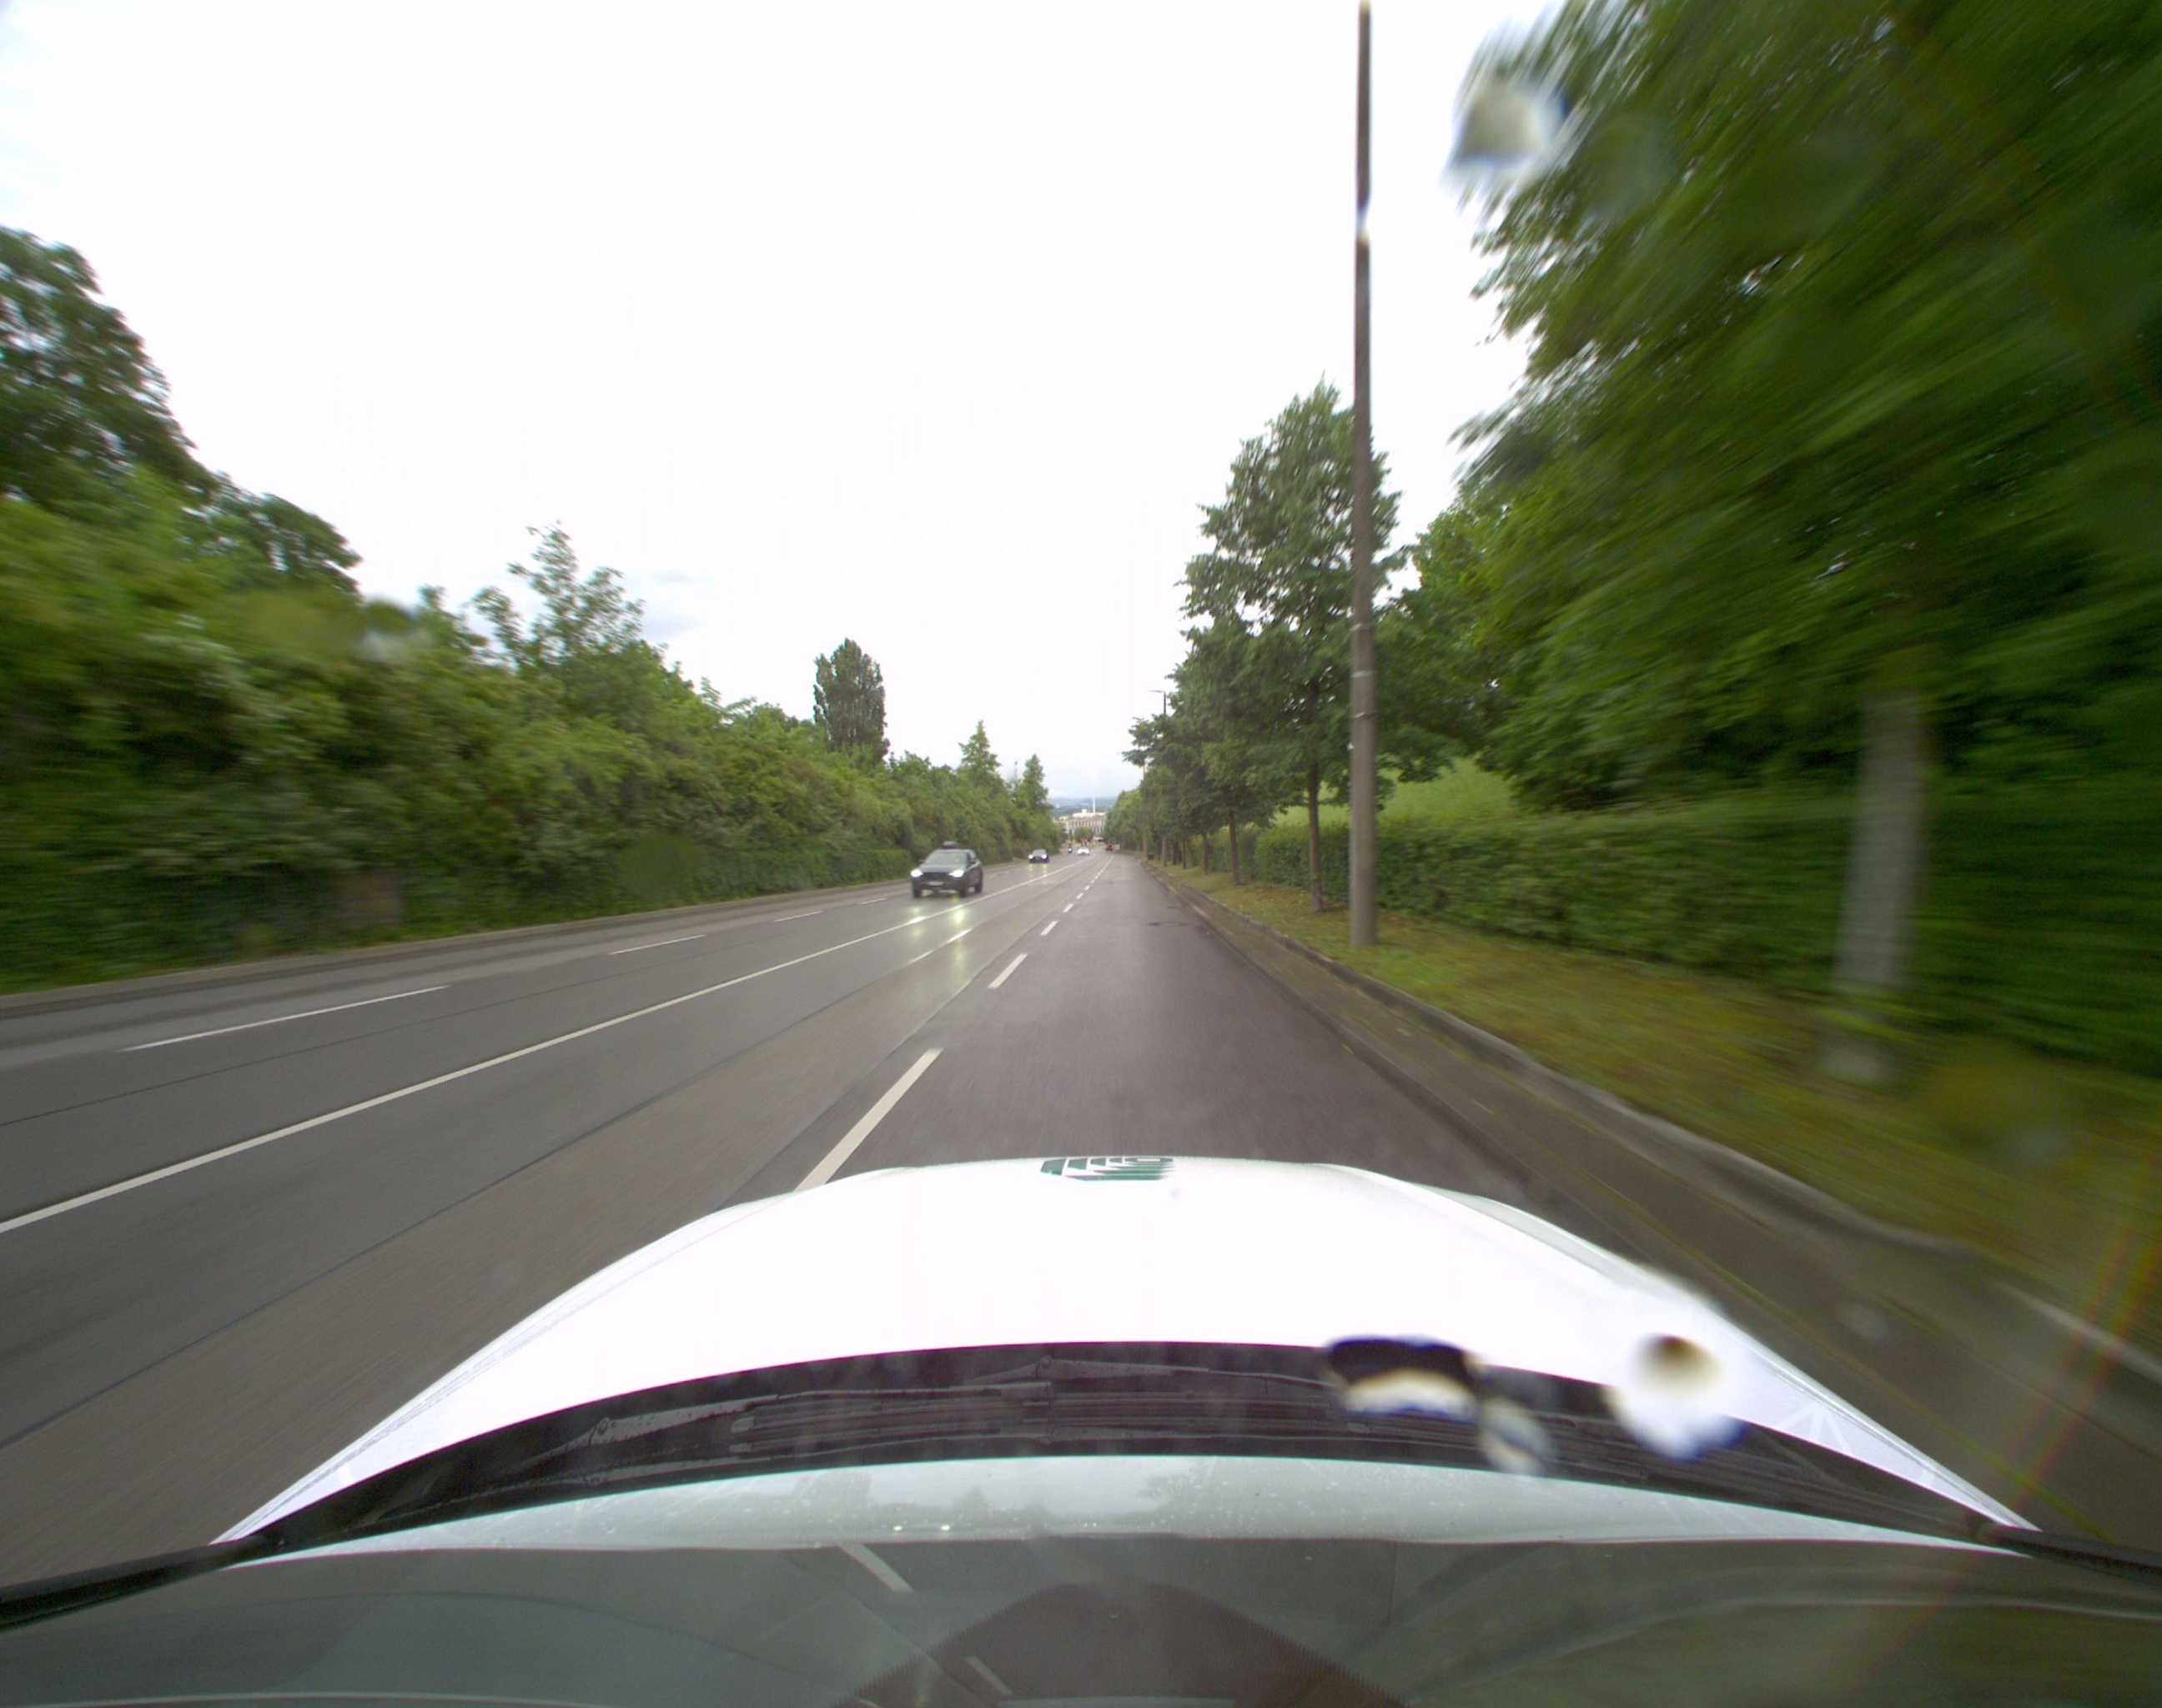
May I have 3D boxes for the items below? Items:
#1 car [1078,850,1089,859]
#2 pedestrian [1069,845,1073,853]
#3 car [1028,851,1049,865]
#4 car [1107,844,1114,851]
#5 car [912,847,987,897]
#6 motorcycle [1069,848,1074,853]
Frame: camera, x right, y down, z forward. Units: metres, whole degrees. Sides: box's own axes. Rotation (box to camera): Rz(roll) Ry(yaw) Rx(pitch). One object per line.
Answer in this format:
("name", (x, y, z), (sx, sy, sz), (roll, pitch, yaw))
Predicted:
("car", (0.398, 0.040, 140.570), (1.708, 1.505, 4.520), (0, 1, 3))
("pedestrian", (-1.944, -1.051, 161.963), (0.802, 1.541, 1.112), (-1, 0, 3))
("car", (-4.534, 0.400, 88.006), (1.752, 1.381, 4.842), (0, 1, 3))
("car", (7.711, -1.599, 211.180), (1.842, 1.702, 3.794), (0, -1, 2))
("car", (-4.746, 0.603, 29.936), (1.805, 1.657, 4.598), (-1, 0, 2))
("motorcycle", (-1.939, -0.706, 161.940), (0.802, 1.131, 2.233), (-1, 0, 3))
